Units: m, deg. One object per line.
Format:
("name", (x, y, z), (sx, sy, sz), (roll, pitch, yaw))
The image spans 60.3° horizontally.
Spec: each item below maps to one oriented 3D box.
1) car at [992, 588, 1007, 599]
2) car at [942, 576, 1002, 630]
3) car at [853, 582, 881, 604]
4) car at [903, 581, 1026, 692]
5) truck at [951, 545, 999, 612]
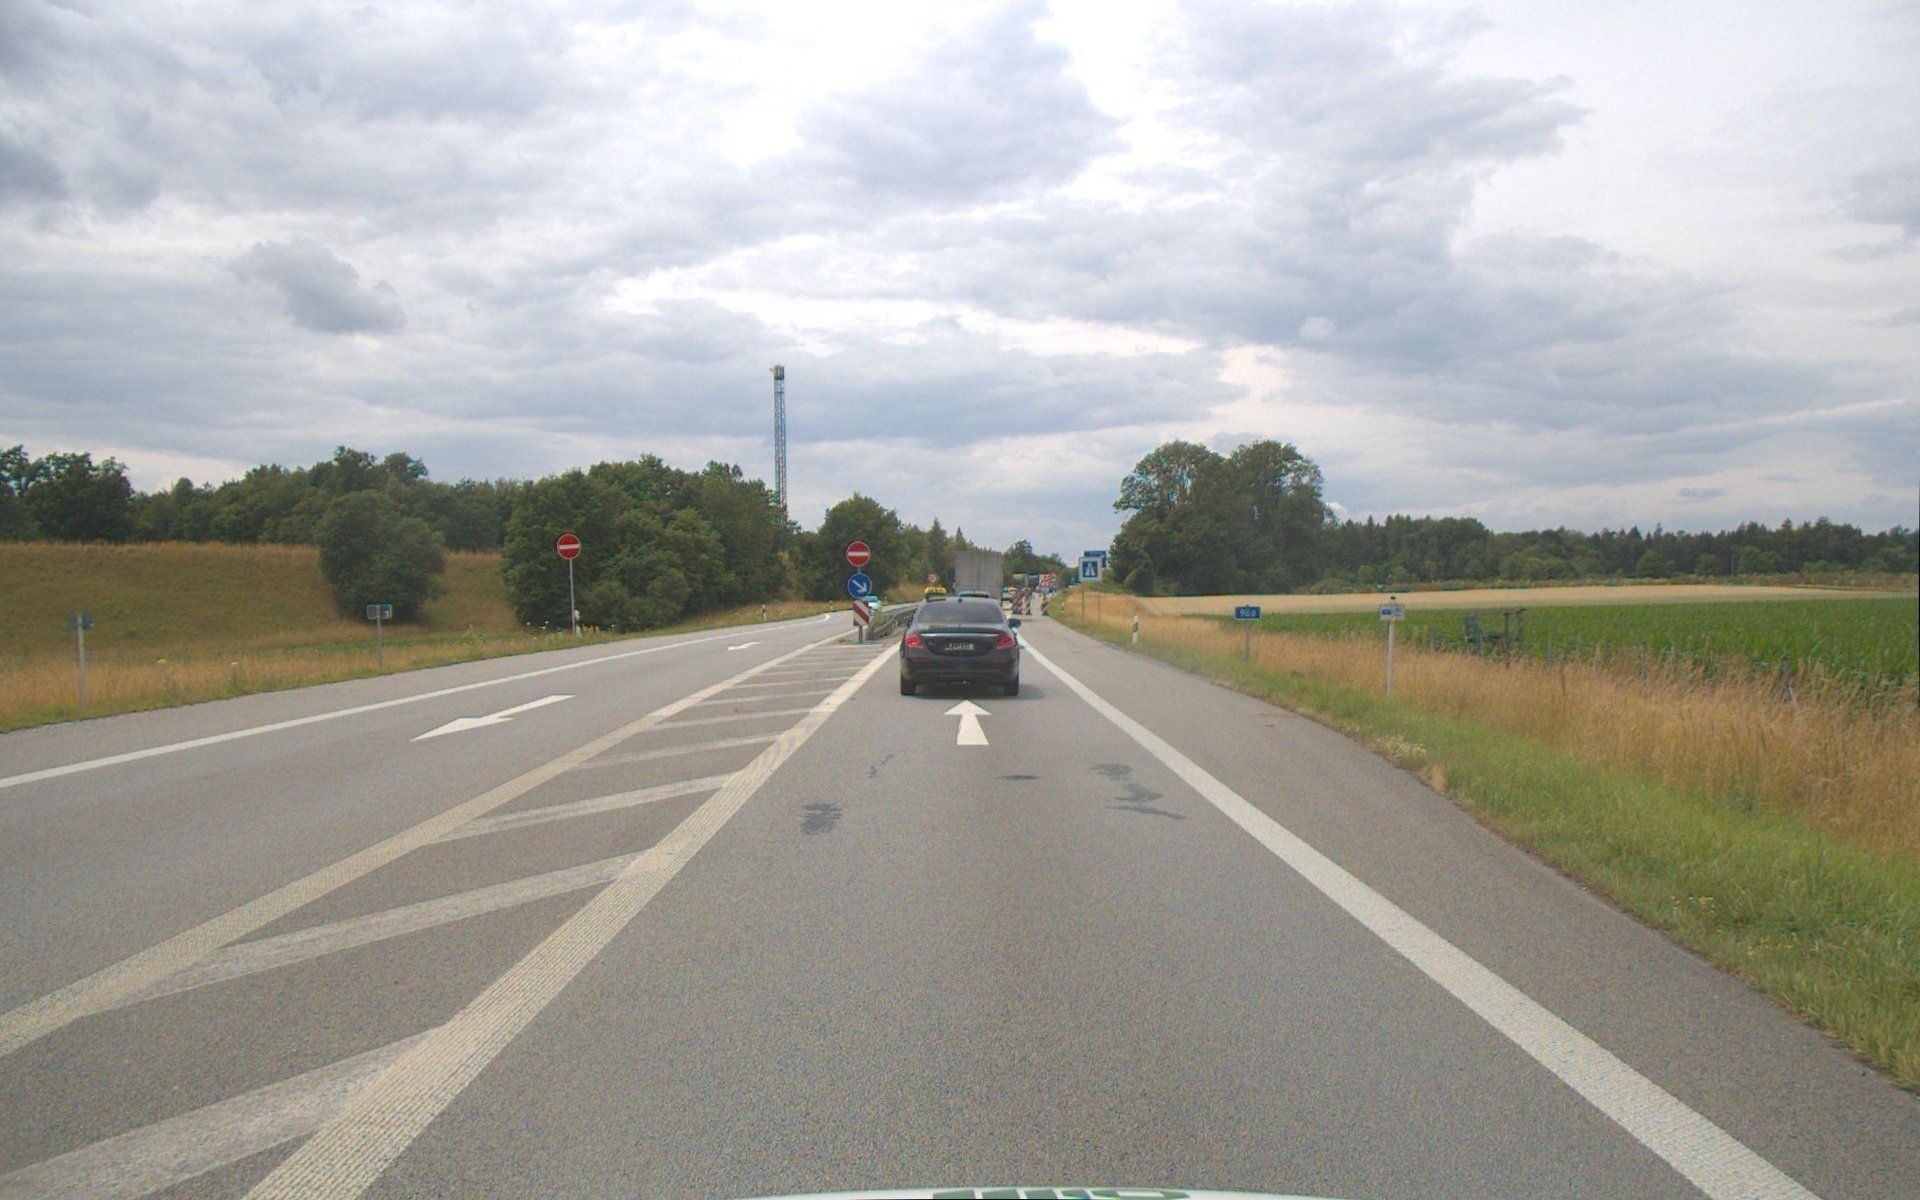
("car", (4.886, -0.798, 206.075), (1.616, 1.420, 3.704), (1, 0, -2))
("car", (0.448, 0.121, 66.002), (1.955, 2.049, 3.995), (1, 0, -6))
("car", (-7.011, -0.499, 125.320), (1.780, 1.661, 4.602), (1, 0, 0))
("car", (0.092, 0.528, 25.815), (1.759, 1.587, 4.000), (1, 0, 1))
("truck", (0.861, -1.165, 92.033), (2.533, 3.586, 4.813), (1, 0, 1))
